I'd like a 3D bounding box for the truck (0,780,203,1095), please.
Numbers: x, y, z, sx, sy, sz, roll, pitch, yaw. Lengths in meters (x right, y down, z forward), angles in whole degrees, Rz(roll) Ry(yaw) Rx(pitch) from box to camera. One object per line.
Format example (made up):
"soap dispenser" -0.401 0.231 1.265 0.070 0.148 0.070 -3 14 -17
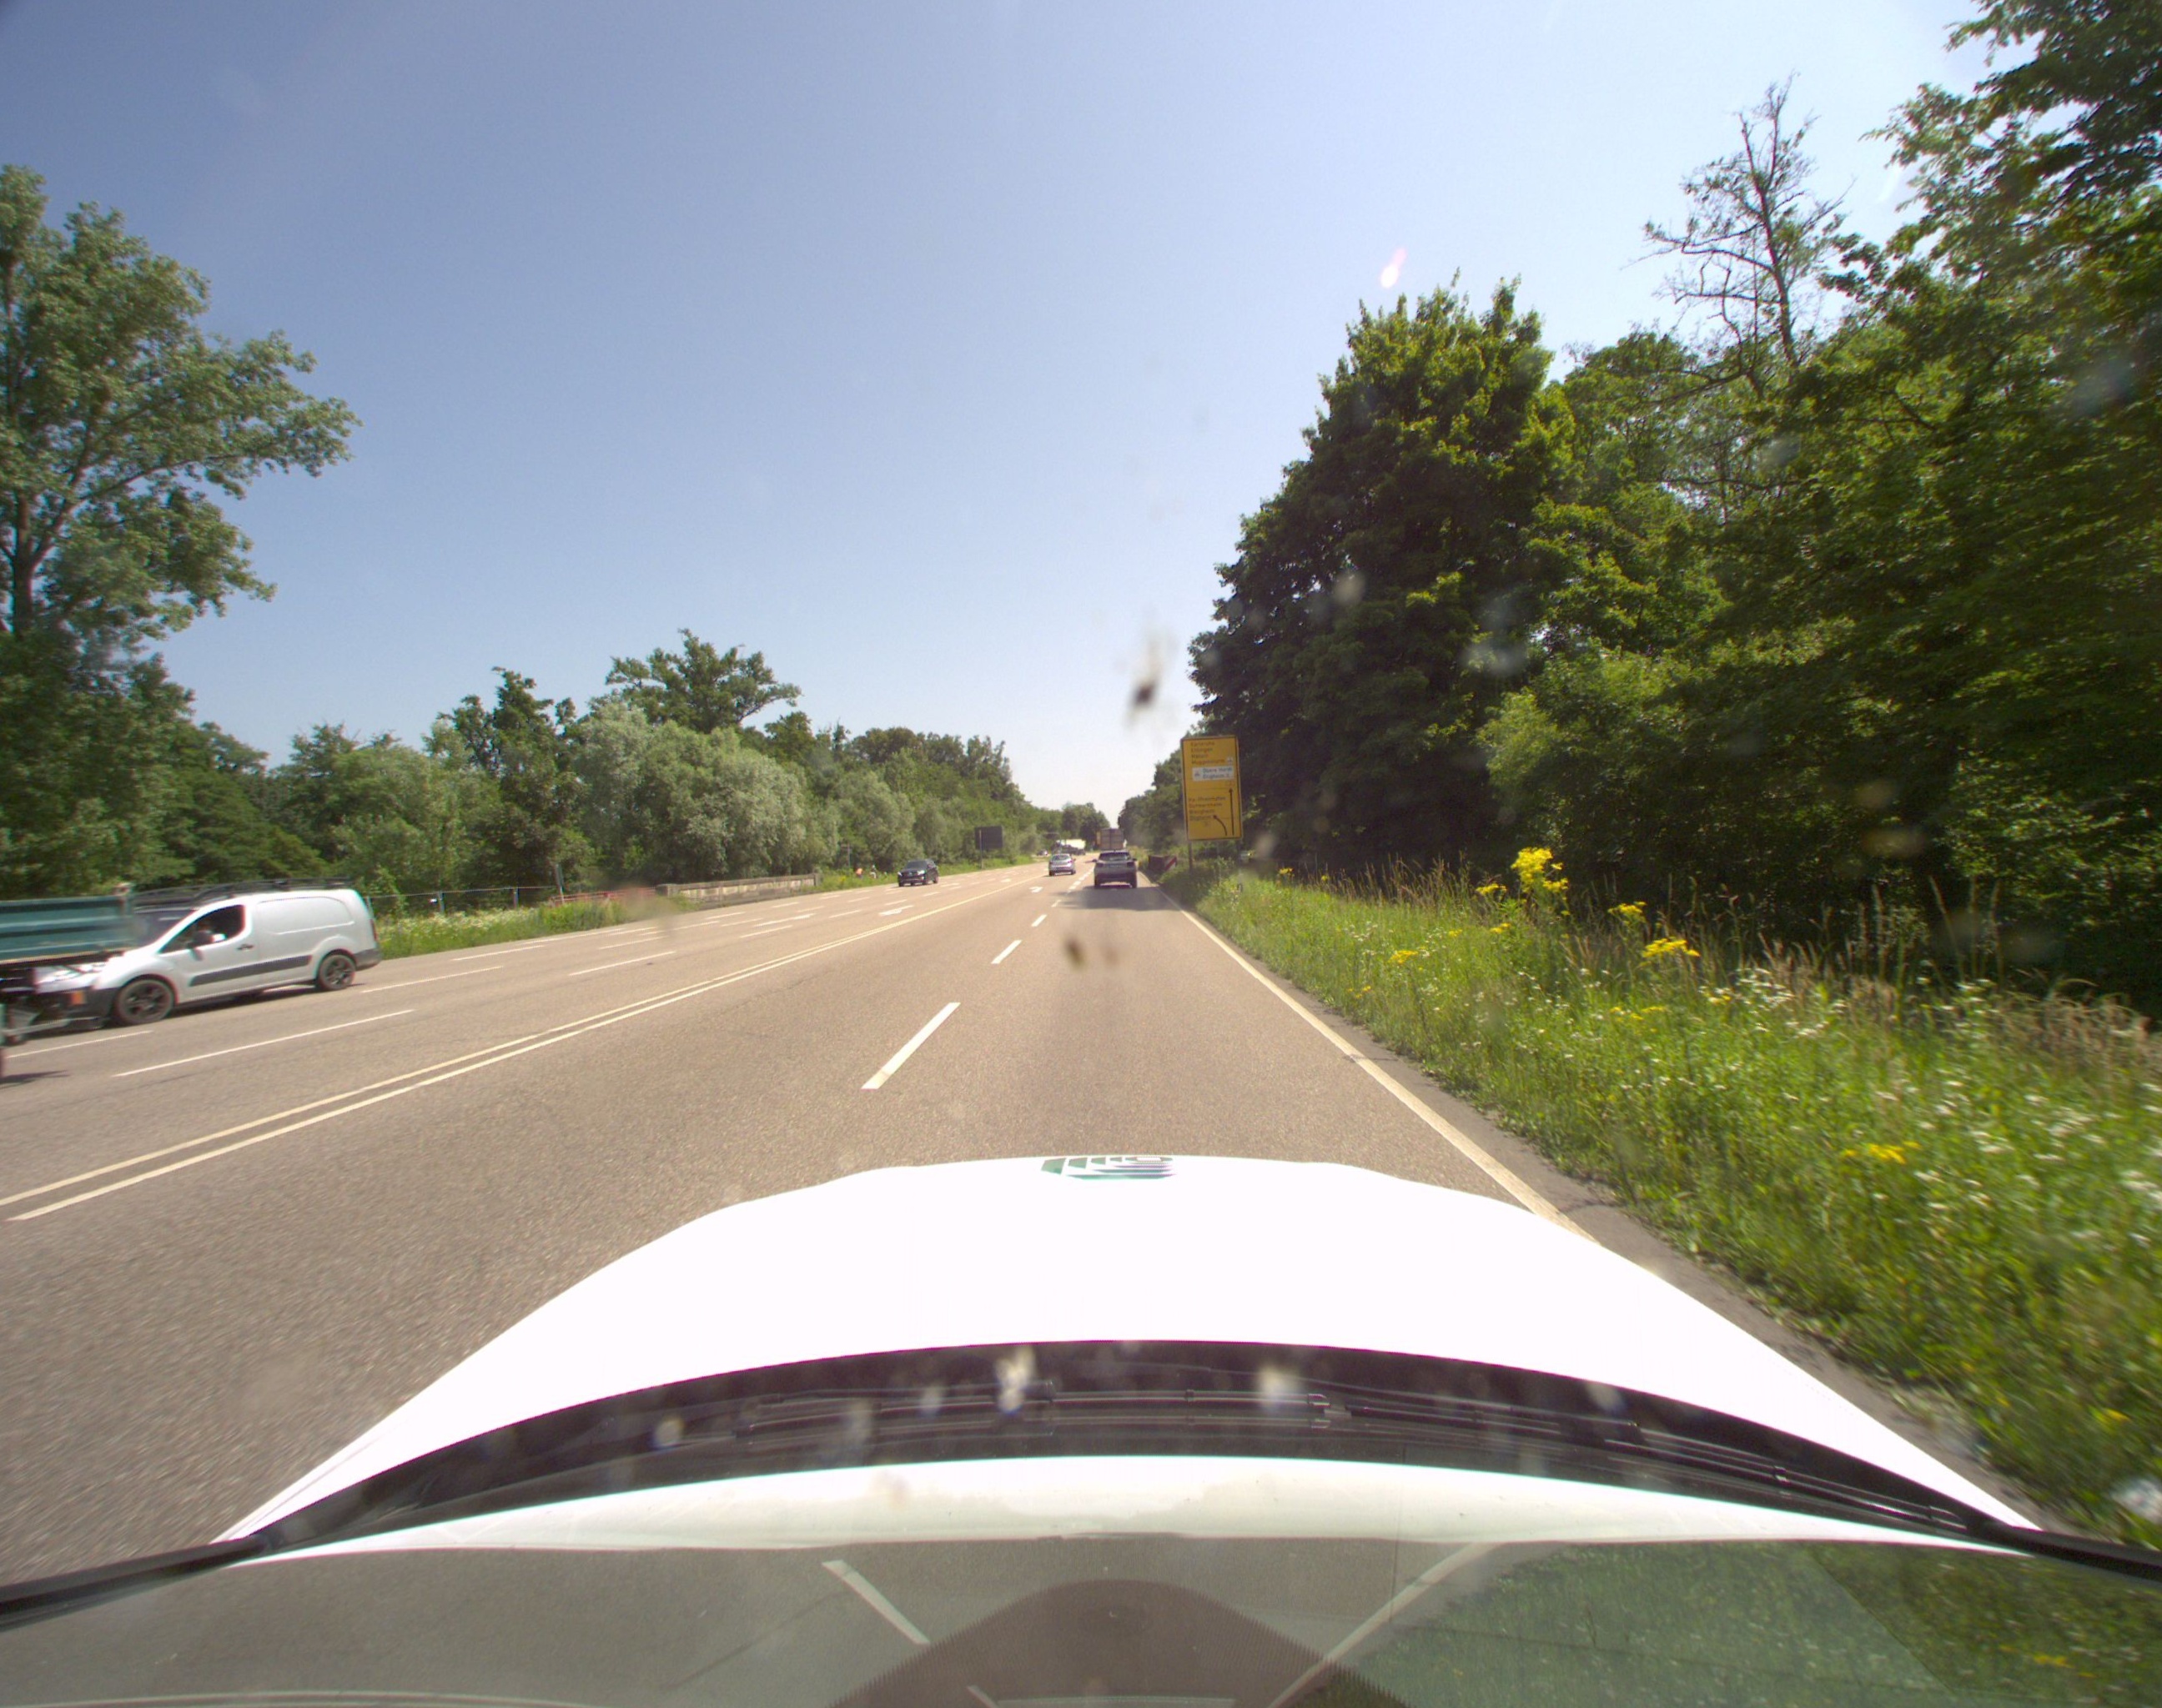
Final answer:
"truck" -10.456 0.824 5.100 2.444 2.656 6.496 -5 0 3

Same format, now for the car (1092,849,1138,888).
"car" 1.483 0.573 34.739 1.760 1.535 4.003 -2 0 3

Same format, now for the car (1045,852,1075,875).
"car" -1.375 0.598 55.176 1.659 1.430 3.831 -2 0 3

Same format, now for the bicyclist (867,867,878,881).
"bicyclist" -19.194 1.836 75.109 0.730 1.195 0.594 -4 -1 13

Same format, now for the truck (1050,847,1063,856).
"truck" -6.418 -0.586 213.535 2.139 2.196 4.630 -2 0 -16

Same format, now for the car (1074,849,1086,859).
"car" -0.164 0.079 182.403 1.993 2.013 4.540 -4 0 -9

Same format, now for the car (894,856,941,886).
"car" -11.252 1.126 56.446 1.986 1.881 4.962 -4 0 2

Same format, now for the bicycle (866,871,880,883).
"bicycle" -19.170 2.152 75.096 0.600 1.006 1.561 -4 0 14

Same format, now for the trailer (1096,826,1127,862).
"trailer" 3.686 -1.148 96.950 3.369 3.988 10.811 -2 0 3

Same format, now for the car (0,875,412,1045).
"car" -13.926 1.494 13.096 1.985 1.966 4.825 -5 0 3

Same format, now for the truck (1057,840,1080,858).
"truck" -3.074 -1.126 198.460 3.651 4.105 9.464 -2 0 -13

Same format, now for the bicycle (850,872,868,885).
"bicycle" -19.648 2.182 72.060 0.671 1.005 1.806 -4 0 12

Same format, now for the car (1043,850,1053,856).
"car" -9.080 -0.204 223.430 1.995 1.585 3.984 -2 0 -11

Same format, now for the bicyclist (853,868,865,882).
"bicyclist" -19.679 1.828 72.054 0.752 1.195 0.594 -4 0 12
